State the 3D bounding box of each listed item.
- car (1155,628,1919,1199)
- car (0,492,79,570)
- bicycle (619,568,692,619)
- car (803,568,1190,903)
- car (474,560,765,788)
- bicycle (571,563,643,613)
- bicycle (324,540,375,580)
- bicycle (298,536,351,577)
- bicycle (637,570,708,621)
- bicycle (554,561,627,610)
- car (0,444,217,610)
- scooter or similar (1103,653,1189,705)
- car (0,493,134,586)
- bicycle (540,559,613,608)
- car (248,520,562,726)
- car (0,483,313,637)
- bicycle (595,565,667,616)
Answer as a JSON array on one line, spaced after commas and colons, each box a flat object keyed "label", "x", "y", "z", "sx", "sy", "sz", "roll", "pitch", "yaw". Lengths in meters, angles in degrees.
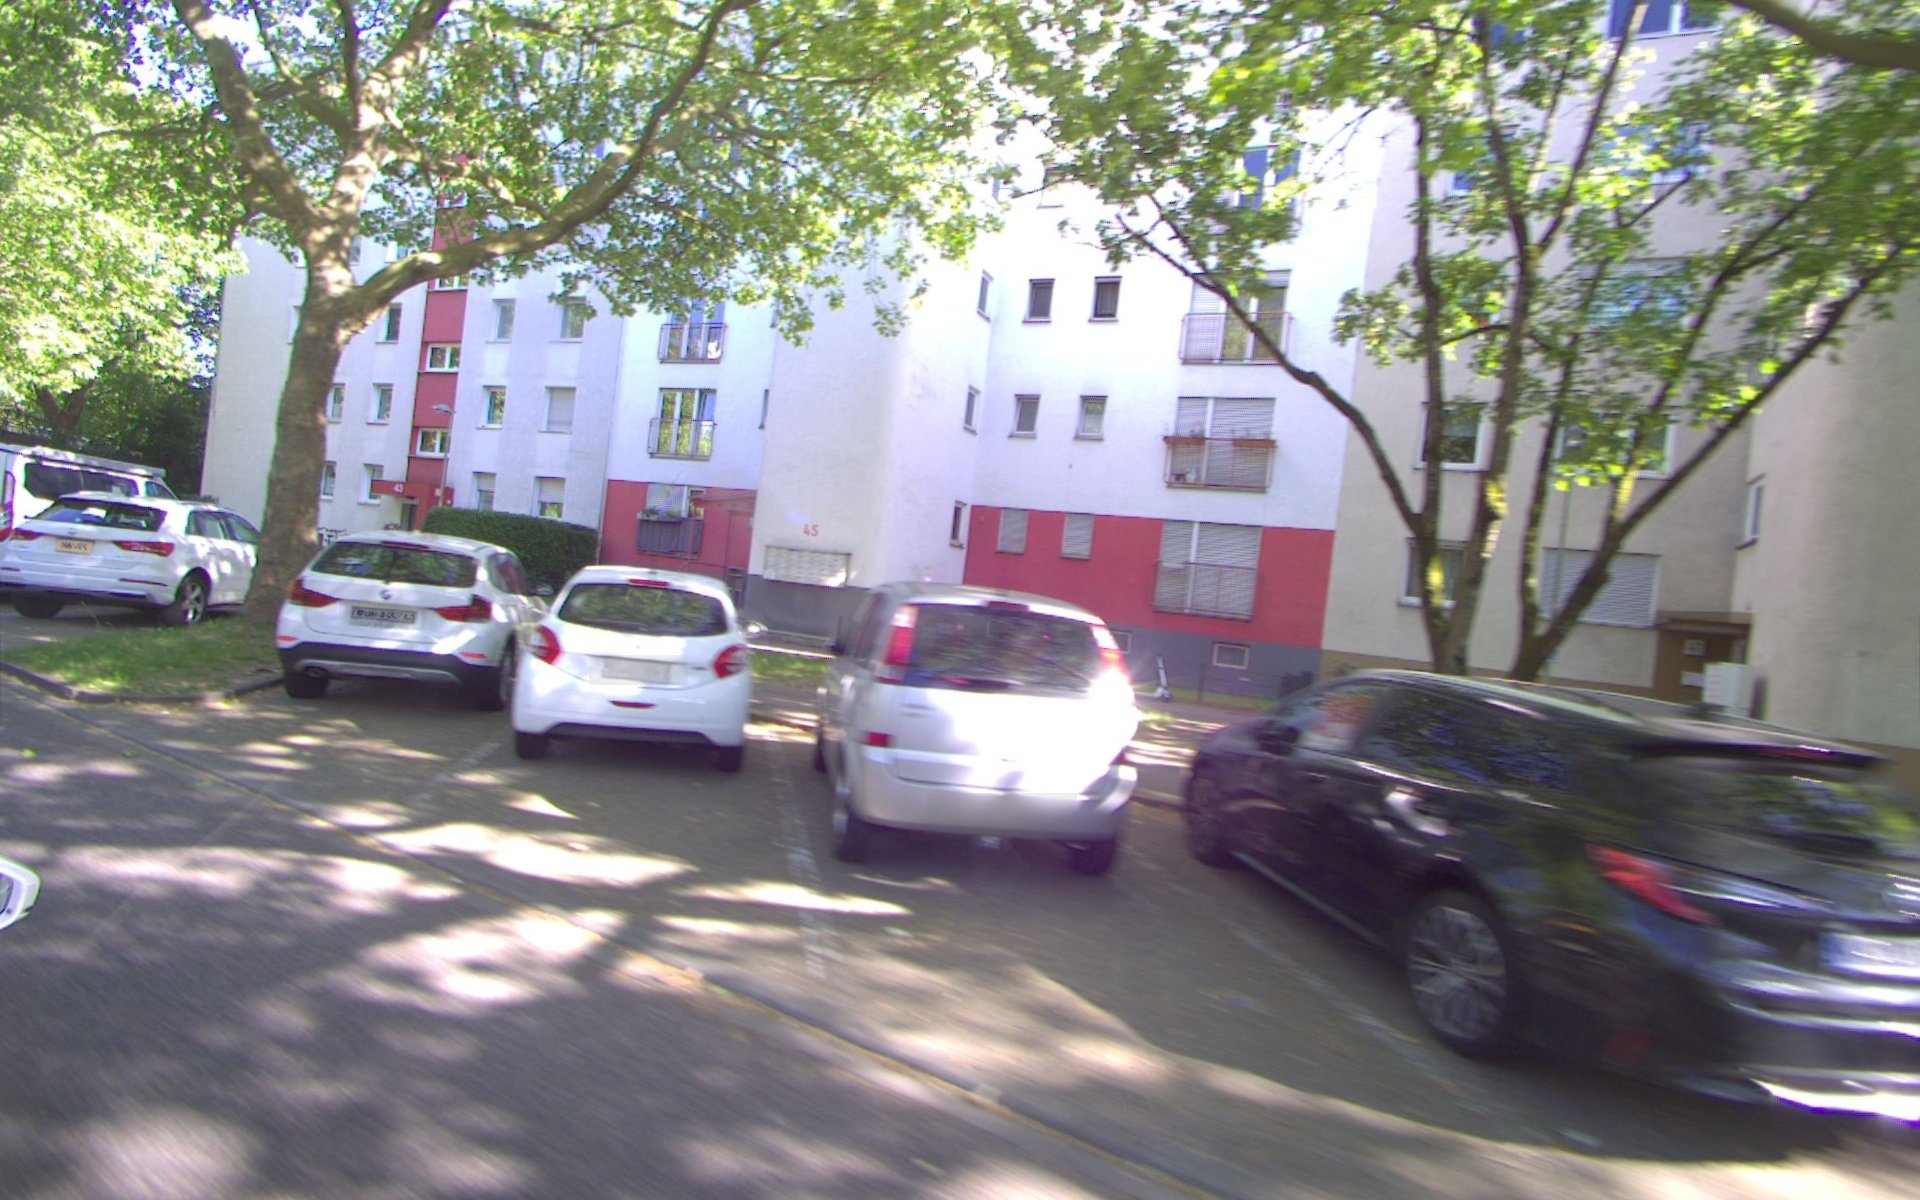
[{"label": "car", "x": 2.720, "y": 1.076, "z": 5.214, "sx": 1.917, "sy": 1.447, "sz": 4.401, "roll": 6, "pitch": 1, "yaw": -8}, {"label": "car", "x": -18.718, "y": -1.366, "z": 18.670, "sx": 1.770, "sy": 1.435, "sz": 3.913, "roll": 6, "pitch": 1, "yaw": -11}, {"label": "bicycle", "x": -7.407, "y": -0.140, "z": 24.569, "sx": 0.540, "sy": 1.144, "sz": 1.796, "roll": 7, "pitch": 2, "yaw": 26}, {"label": "car", "x": -0.091, "y": 0.675, "z": 7.167, "sx": 1.770, "sy": 1.610, "sz": 3.990, "roll": 6, "pitch": 1, "yaw": -11}, {"label": "car", "x": -2.784, "y": 0.463, "z": 8.890, "sx": 1.802, "sy": 1.437, "sz": 3.987, "roll": 6, "pitch": 1, "yaw": -14}, {"label": "bicycle", "x": -8.739, "y": -0.278, "z": 24.985, "sx": 0.491, "sy": 1.144, "sz": 1.796, "roll": 7, "pitch": 2, "yaw": 26}, {"label": "bicycle", "x": -19.951, "y": -1.318, "z": 32.876, "sx": 1.770, "sy": 1.121, "sz": 0.591, "roll": 7, "pitch": 0, "yaw": 31}, {"label": "bicycle", "x": -20.325, "y": -1.390, "z": 32.155, "sx": 1.770, "sy": 1.121, "sz": 0.591, "roll": 7, "pitch": 0, "yaw": 31}, {"label": "bicycle", "x": -6.936, "y": -0.087, "z": 24.334, "sx": 0.491, "sy": 1.144, "sz": 1.796, "roll": 7, "pitch": 2, "yaw": 26}, {"label": "bicycle", "x": -9.247, "y": -0.346, "z": 25.217, "sx": 0.491, "sy": 1.144, "sz": 1.796, "roll": 7, "pitch": 2, "yaw": 26}, {"label": "car", "x": -13.270, "y": -1.065, "z": 14.568, "sx": 1.983, "sy": 2.079, "sz": 4.581, "roll": 6, "pitch": 1, "yaw": -9}, {"label": "scooter or similar", "x": 3.210, "y": 1.365, "z": 17.467, "sx": 1.354, "sy": 0.703, "sz": 0.702, "roll": 6, "pitch": 1, "yaw": 7}, {"label": "car", "x": -16.103, "y": -1.061, "z": 16.543, "sx": 1.769, "sy": 1.442, "sz": 4.579, "roll": 6, "pitch": 1, "yaw": -10}, {"label": "bicycle", "x": -9.694, "y": -0.402, "z": 25.472, "sx": 0.491, "sy": 1.144, "sz": 1.796, "roll": 7, "pitch": 2, "yaw": 26}, {"label": "car", "x": -5.289, "y": 0.132, "z": 10.219, "sx": 1.772, "sy": 1.530, "sz": 4.196, "roll": 6, "pitch": 1, "yaw": -16}, {"label": "car", "x": -10.604, "y": -0.523, "z": 13.474, "sx": 1.802, "sy": 1.601, "sz": 4.047, "roll": 6, "pitch": 1, "yaw": -11}, {"label": "bicycle", "x": -8.095, "y": -0.214, "z": 24.801, "sx": 0.491, "sy": 1.144, "sz": 1.796, "roll": 7, "pitch": 2, "yaw": 26}]
